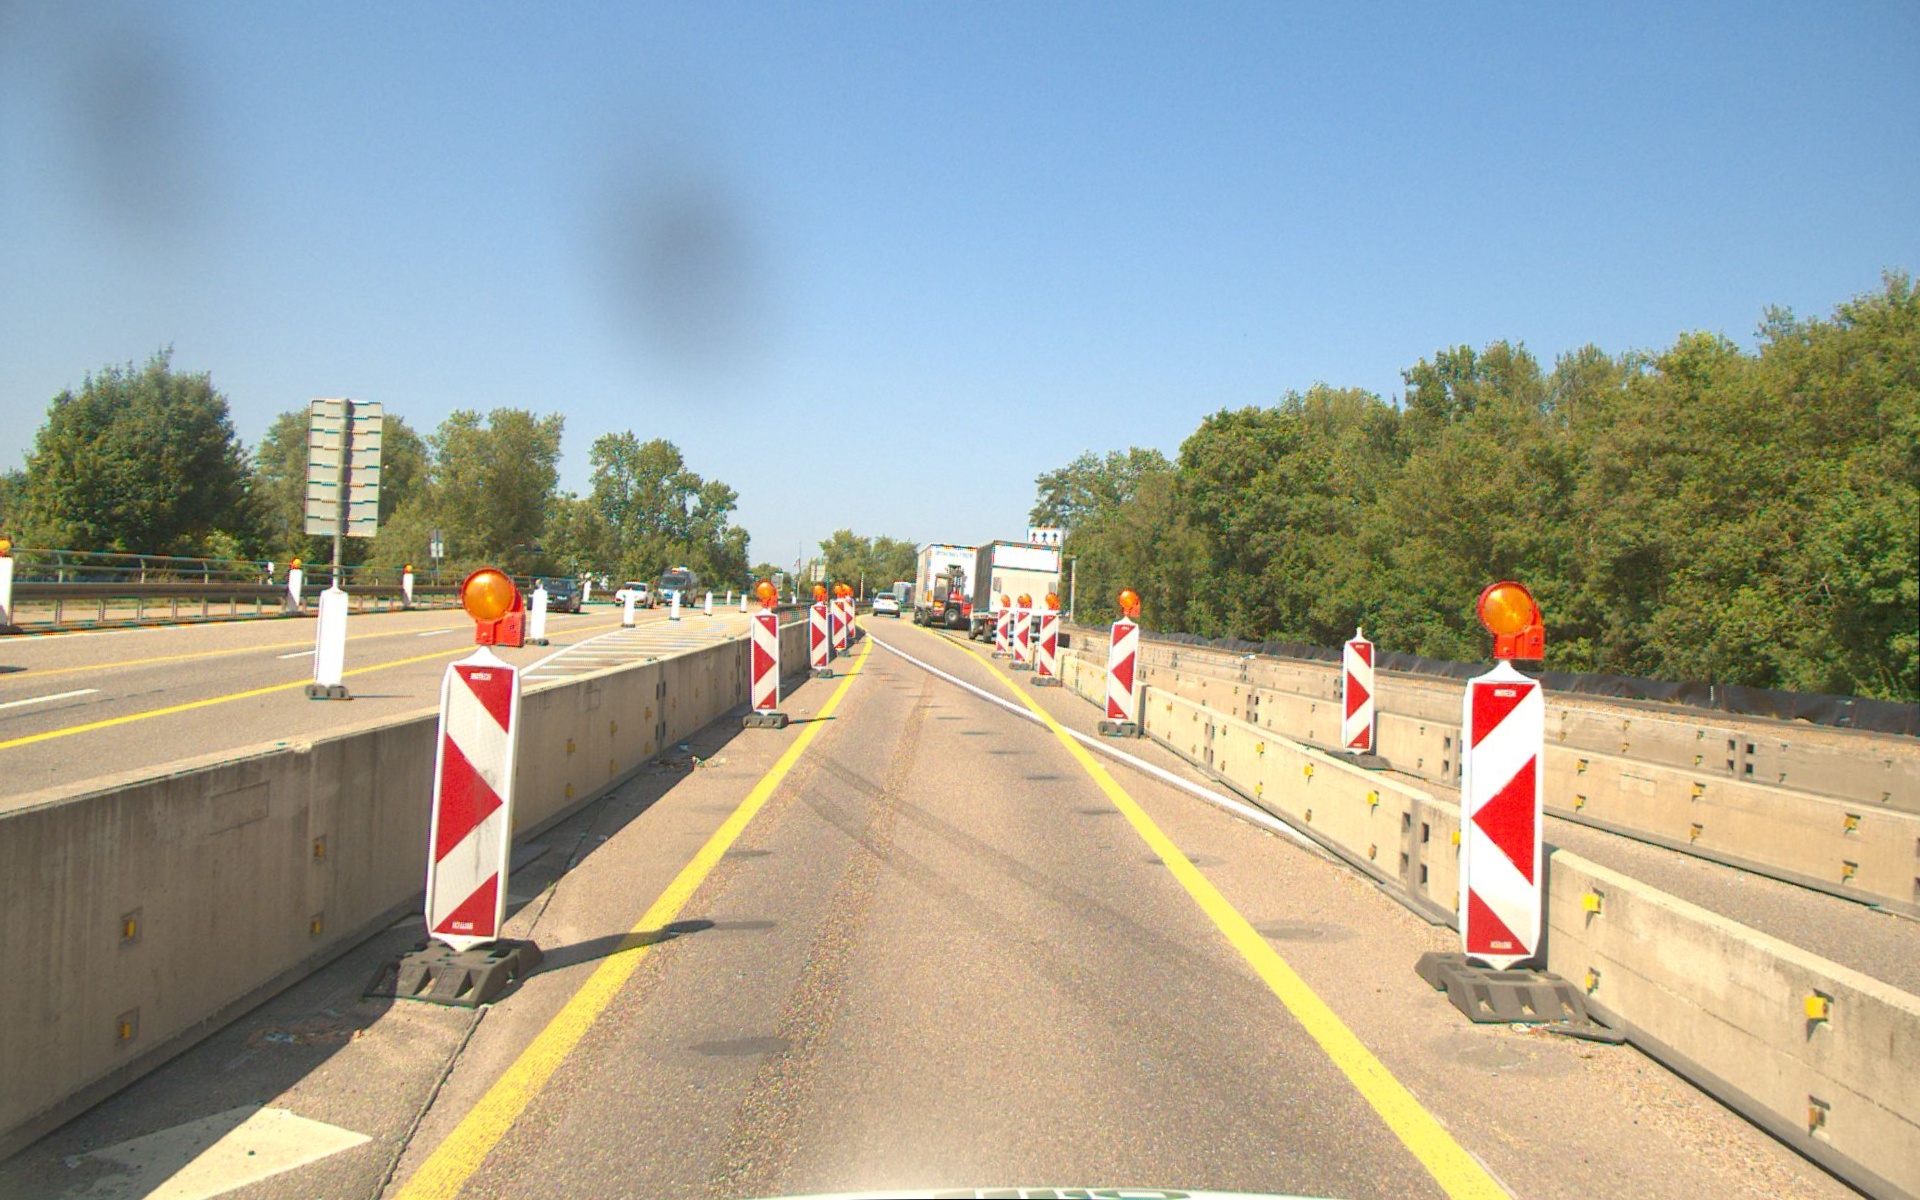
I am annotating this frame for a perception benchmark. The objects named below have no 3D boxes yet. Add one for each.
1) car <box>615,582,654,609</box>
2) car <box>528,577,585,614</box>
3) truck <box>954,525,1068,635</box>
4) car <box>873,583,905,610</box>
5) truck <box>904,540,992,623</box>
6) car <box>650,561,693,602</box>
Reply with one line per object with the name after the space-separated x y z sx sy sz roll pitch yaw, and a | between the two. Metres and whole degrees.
-18.998 -0.290 96.626 1.686 1.421 4.515 3 0 -5 | car
-17.198 -0.211 70.680 1.704 1.501 4.639 2 0 -6 | car
1.672 -0.698 58.038 2.586 3.487 7.219 3 0 -9 | truck
-4.865 -0.259 113.108 1.783 1.807 3.992 1 0 -9 | car
-0.682 -0.914 82.591 3.326 3.840 7.218 1 0 -9 | truck
-19.848 -1.263 114.123 2.103 2.707 5.543 3 0 -2 | car
